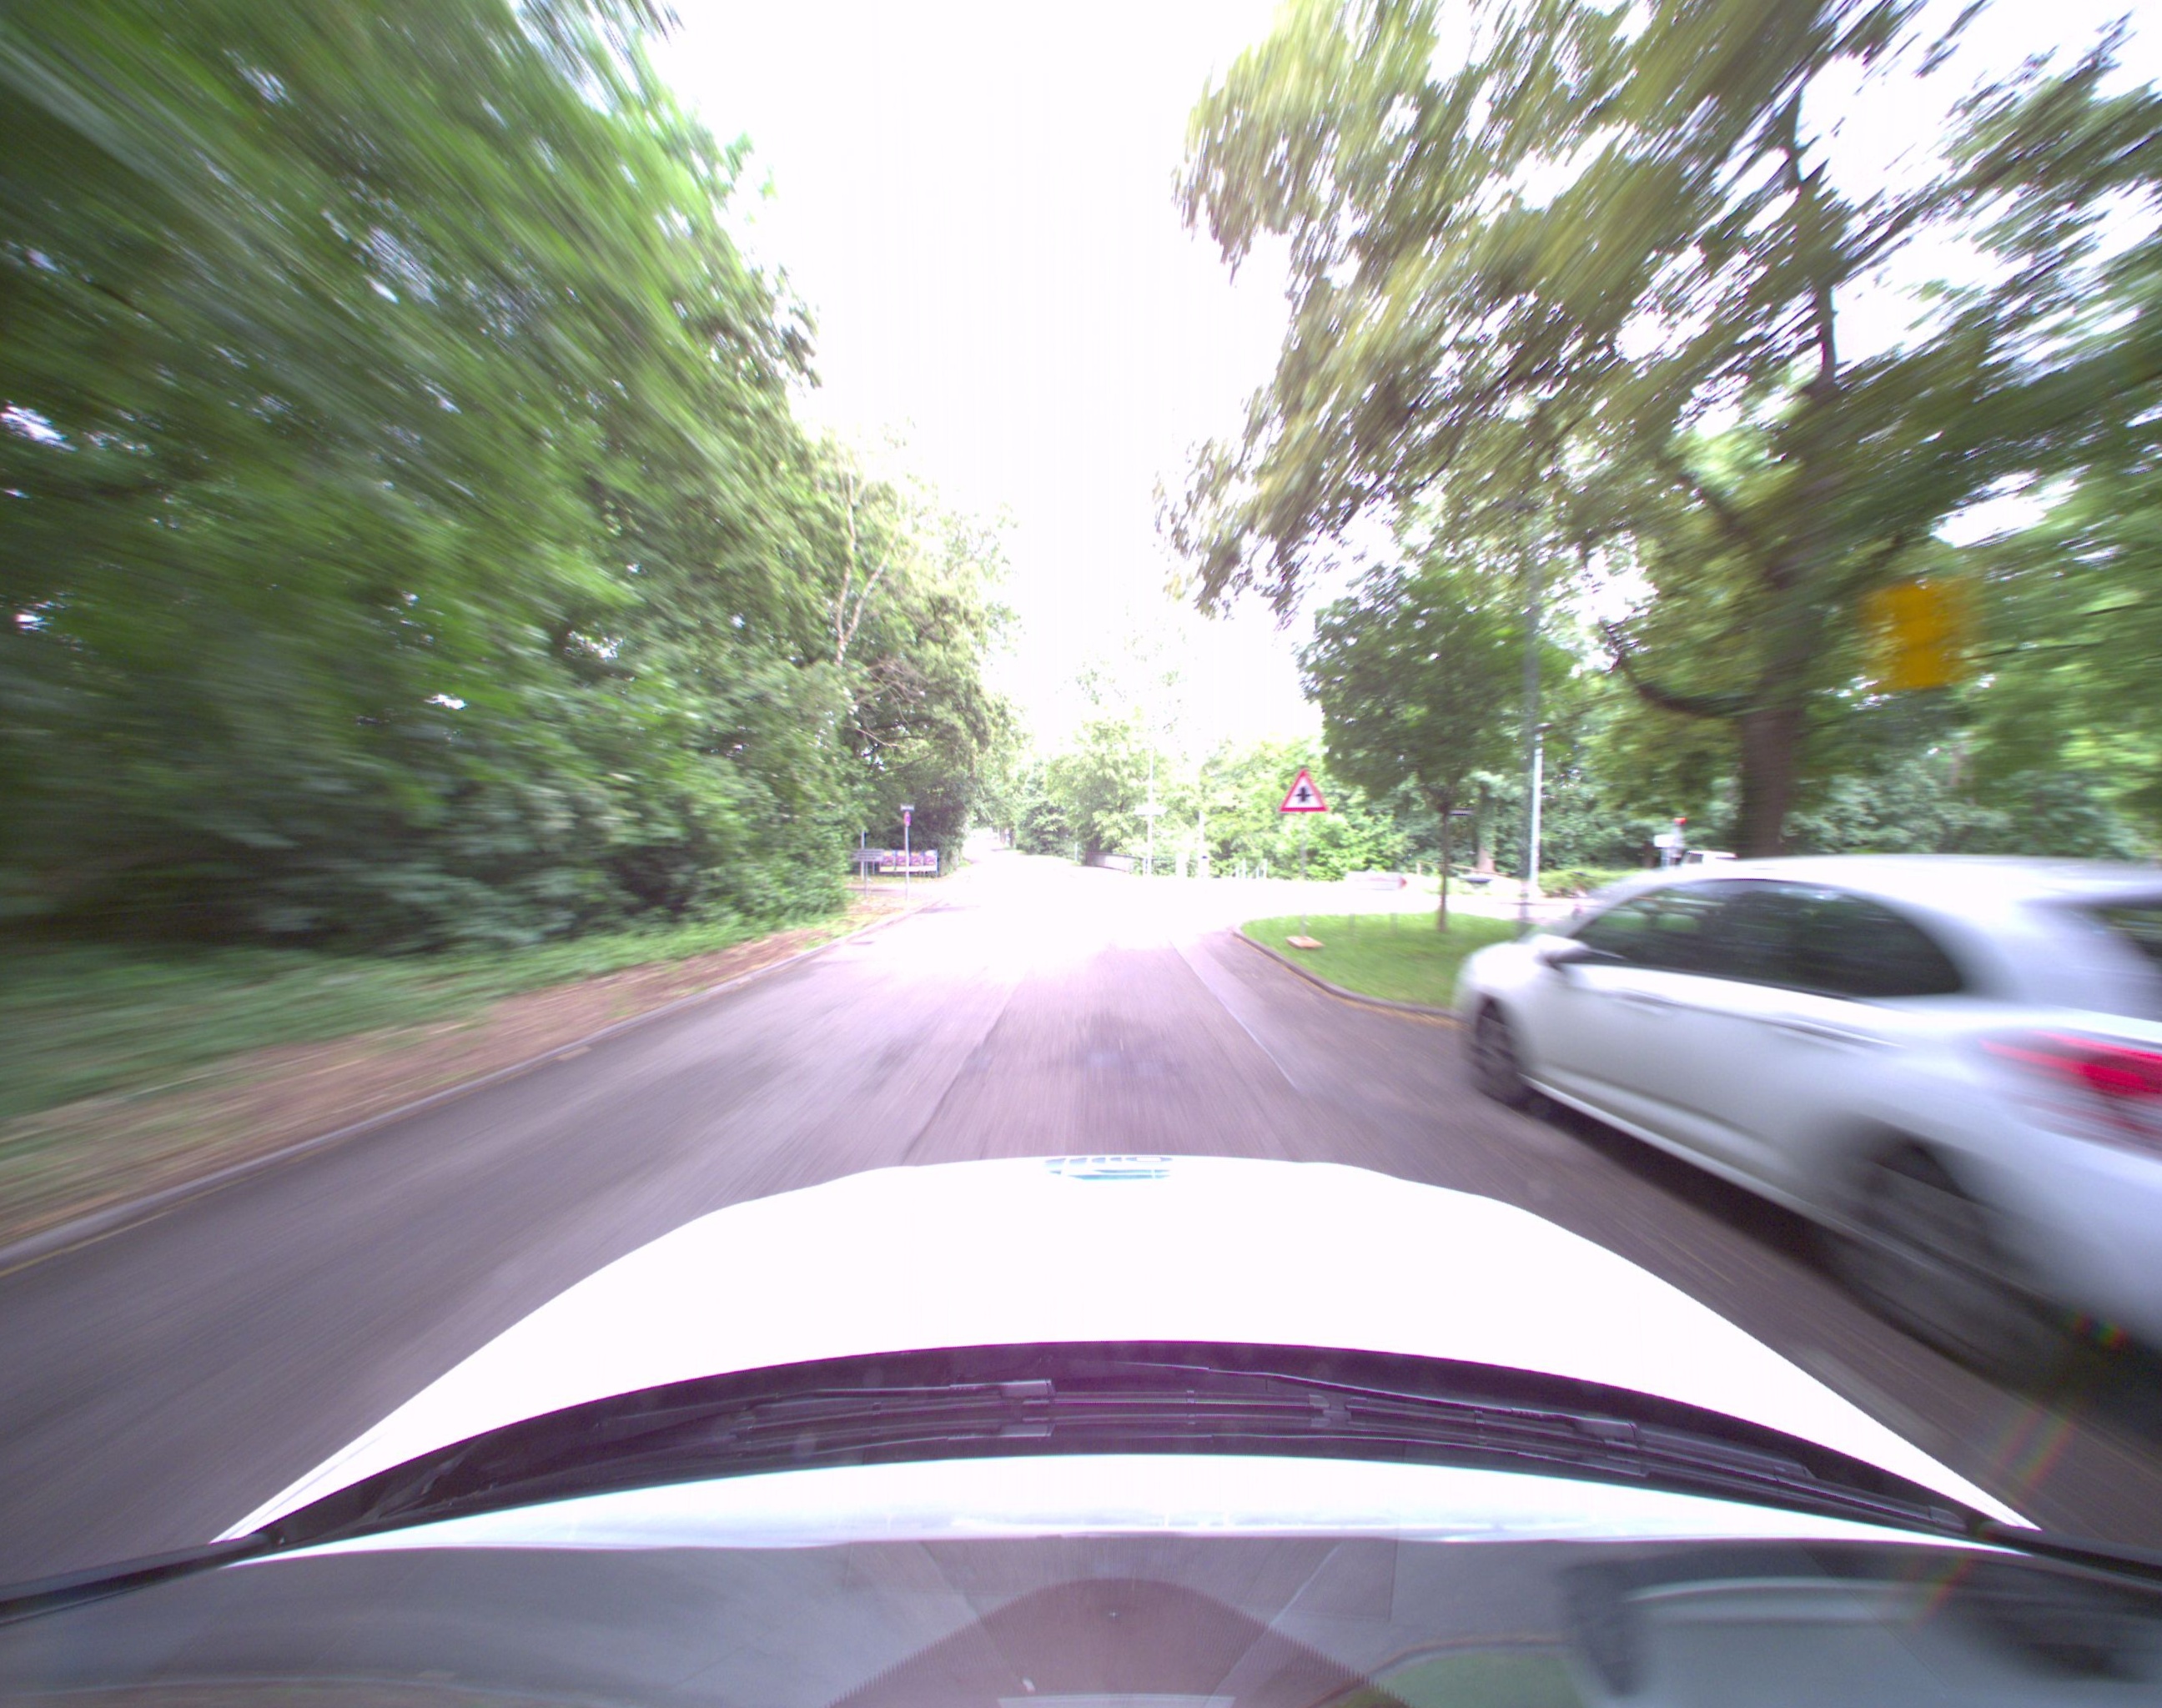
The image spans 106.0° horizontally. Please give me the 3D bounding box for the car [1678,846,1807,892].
[{"bbox_3d":[30.120,0.678,37.192,4.185,2.014,2.003,1,0,5],"label":"car"}]

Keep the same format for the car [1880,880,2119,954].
[{"bbox_3d":[22.428,1.496,20.045,3.492,1.570,1.839,1,0,13],"label":"car"}]

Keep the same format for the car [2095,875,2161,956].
[{"bbox_3d":[27.391,1.485,19.145,4.370,1.848,1.837,1,0,9],"label":"car"}]

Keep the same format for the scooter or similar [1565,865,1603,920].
[{"bbox_3d":[12.325,0.930,19.967,0.281,1.286,1.109,1,0,3],"label":"scooter or similar"}]

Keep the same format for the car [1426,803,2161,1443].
[{"bbox_3d":[3.377,0.653,3.851,1.770,1.522,3.777,1,0,-3],"label":"car"}]

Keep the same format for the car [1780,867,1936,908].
[{"bbox_3d":[30.087,1.272,31.638,4.185,1.499,1.802,1,0,5],"label":"car"}]

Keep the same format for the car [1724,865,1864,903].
[{"bbox_3d":[29.841,1.235,34.185,4.185,1.499,1.802,1,0,5],"label":"car"}]
